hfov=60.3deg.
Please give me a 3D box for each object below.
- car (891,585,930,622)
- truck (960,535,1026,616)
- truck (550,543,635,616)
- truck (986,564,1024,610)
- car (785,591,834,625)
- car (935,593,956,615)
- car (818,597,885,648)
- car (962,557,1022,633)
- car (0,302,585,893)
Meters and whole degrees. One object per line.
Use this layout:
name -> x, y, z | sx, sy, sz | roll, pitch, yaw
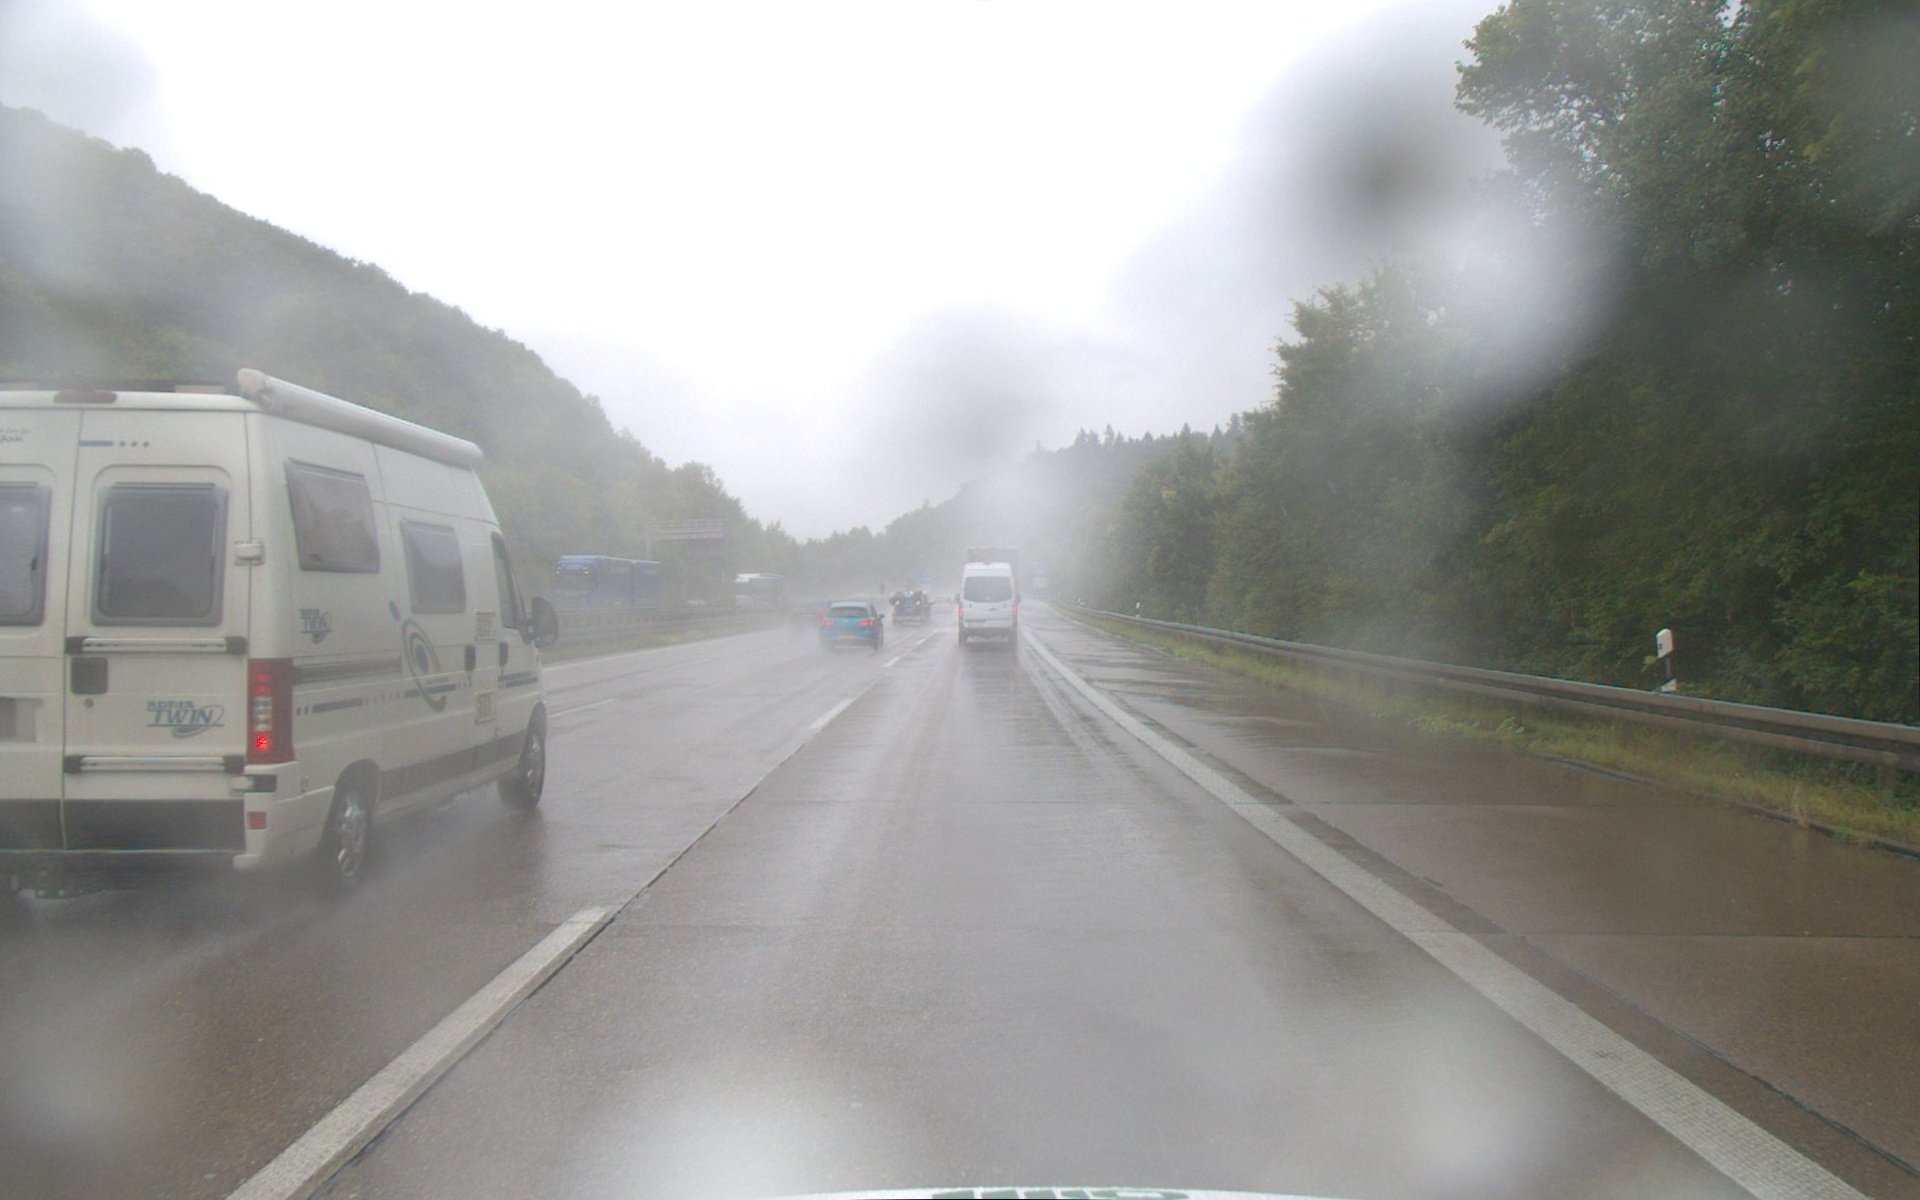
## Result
car -> -2.573, 0.173, 86.422 | 1.830, 1.841, 4.189 | 2, 0, 0
truck -> 1.724, -1.382, 87.105 | 3.315, 4.037, 8.669 | 0, 2, 1
truck -> -22.587, -1.227, 102.329 | 2.790, 4.227, 10.179 | 2, 0, 1
truck -> 4.205, -1.155, 153.008 | 3.026, 3.978, 9.058 | 2, 0, 4
car -> -6.554, 0.318, 72.372 | 1.819, 1.362, 4.350 | 2, 0, -2
car -> -1.117, 0.293, 130.605 | 1.581, 1.656, 4.189 | 2, 0, 0
car -> -3.184, 0.637, 49.363 | 1.819, 1.362, 4.350 | 2, 0, -2
car -> 1.030, -0.166, 55.885 | 1.860, 2.374, 5.250 | 2, 0, 0
car -> -3.839, -0.032, 9.922 | 1.957, 2.474, 5.788 | 2, 0, -2
